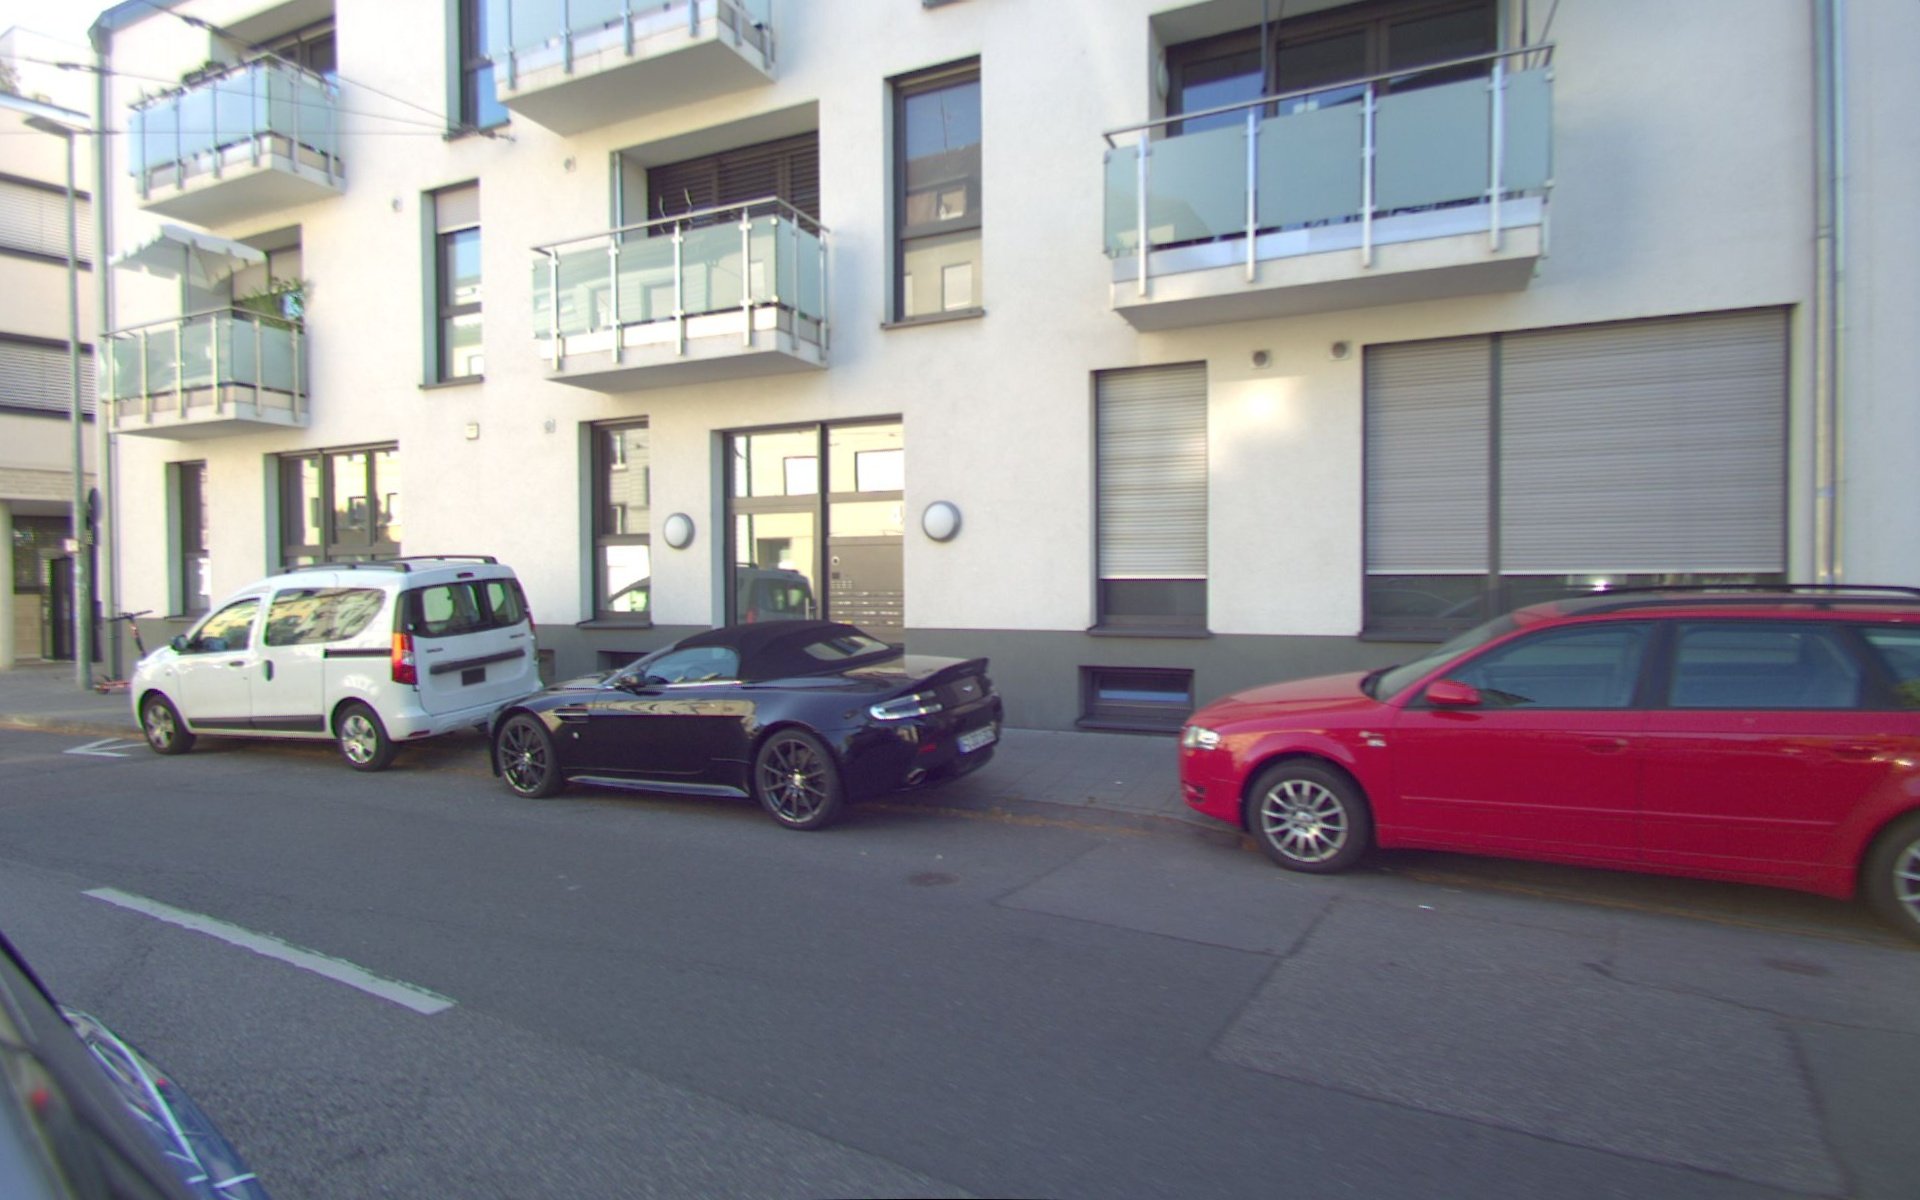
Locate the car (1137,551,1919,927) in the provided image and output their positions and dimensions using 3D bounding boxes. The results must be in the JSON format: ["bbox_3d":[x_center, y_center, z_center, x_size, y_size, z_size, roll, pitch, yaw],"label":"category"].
[{"bbox_3d":[3.417,0.553,5.326,4.577,1.477,1.696,-1,2,33],"label":"car"}]

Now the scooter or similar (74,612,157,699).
[{"bbox_3d":[-12.432,0.820,14.892,1.142,1.229,0.224,-2,1,11],"label":"scooter or similar"}]

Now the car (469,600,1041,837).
[{"bbox_3d":[-1.572,0.687,7.512,4.006,1.283,1.654,0,3,28],"label":"car"}]

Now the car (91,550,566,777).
[{"bbox_3d":[-6.270,0.495,10.068,4.303,1.883,1.804,0,3,23],"label":"car"}]
